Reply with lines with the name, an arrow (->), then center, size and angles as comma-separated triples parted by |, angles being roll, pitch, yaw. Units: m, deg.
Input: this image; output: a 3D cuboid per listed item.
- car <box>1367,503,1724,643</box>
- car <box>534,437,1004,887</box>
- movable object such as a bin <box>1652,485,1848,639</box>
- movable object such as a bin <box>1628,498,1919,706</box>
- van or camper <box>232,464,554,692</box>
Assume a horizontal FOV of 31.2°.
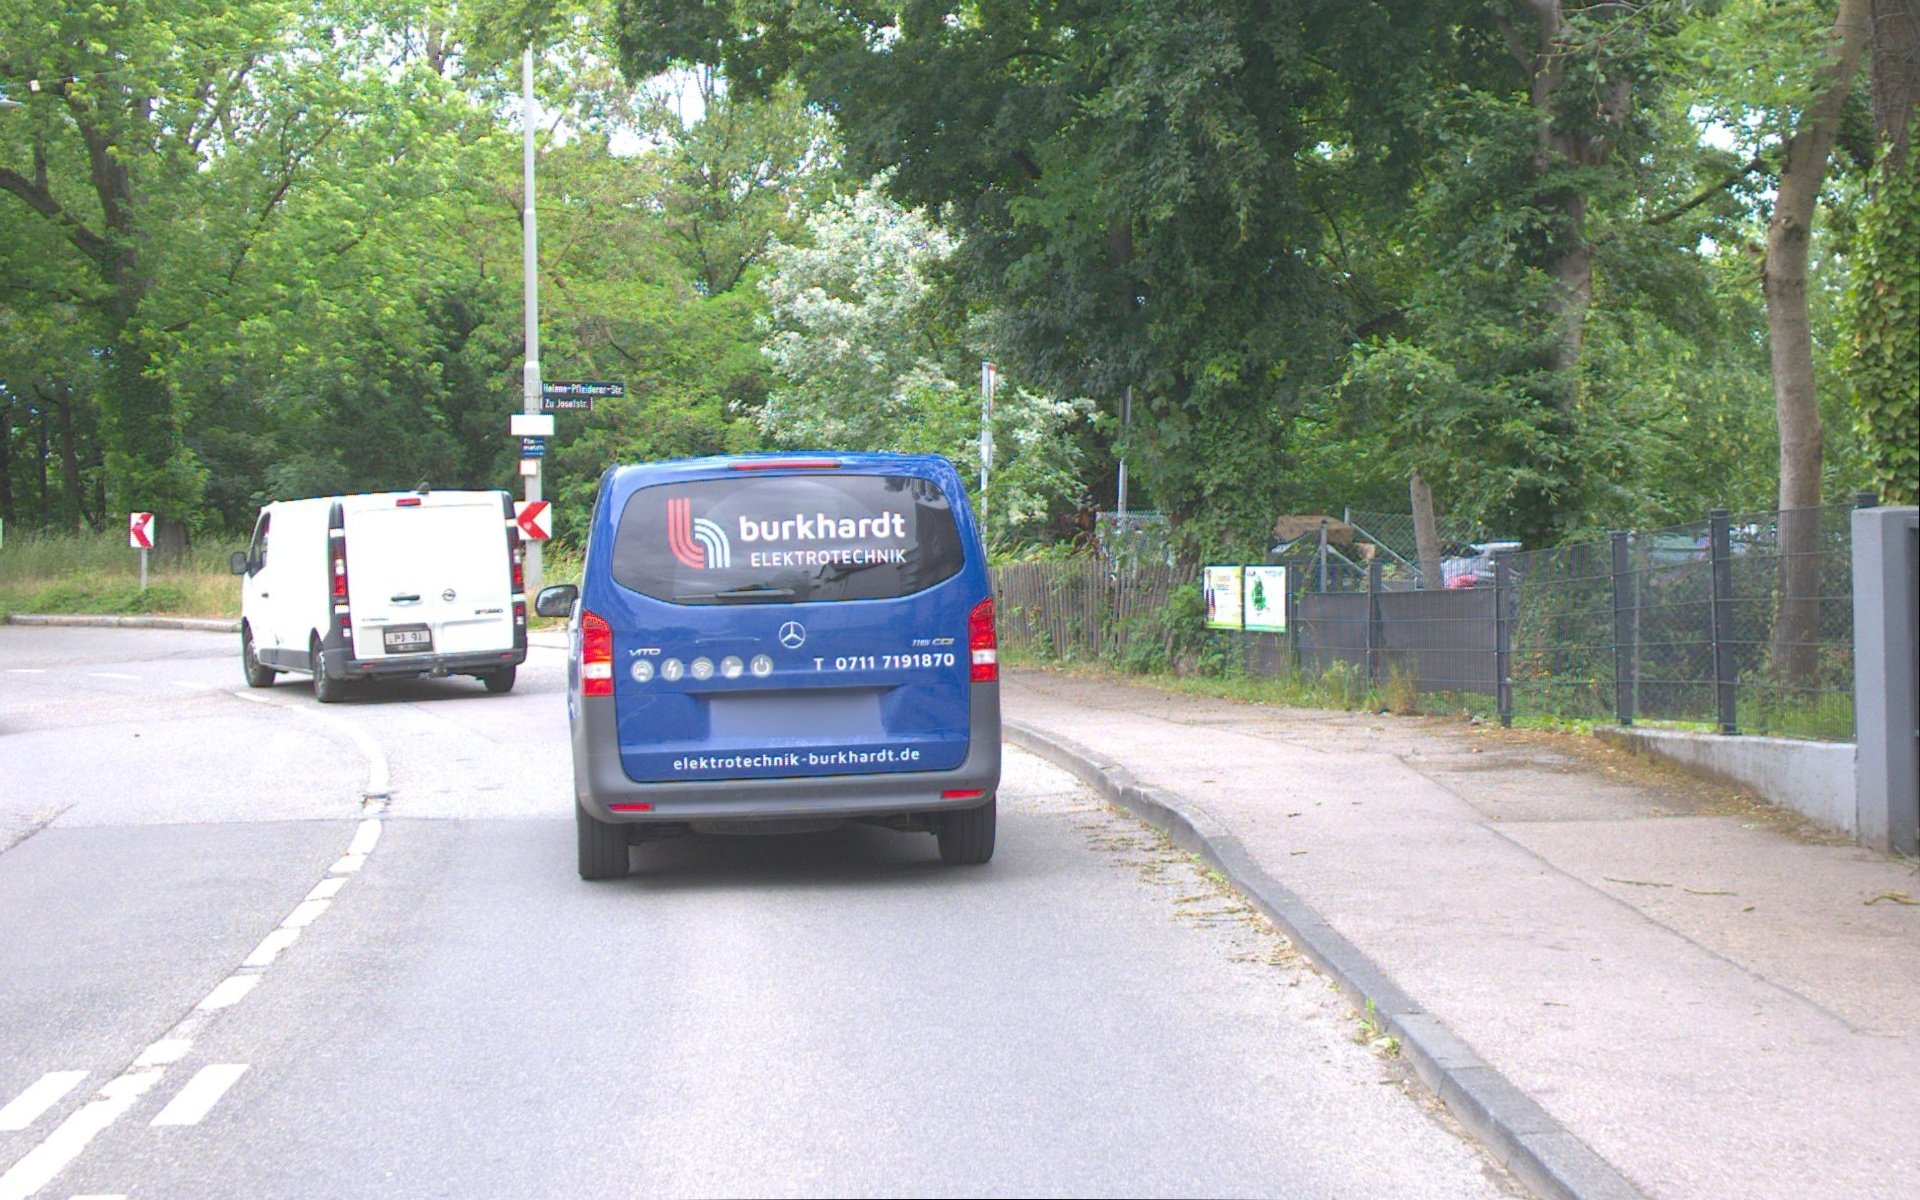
car -> 6.895, -0.313, 40.580 | 3.658, 1.393, 1.832 | 3, 0, -18
car -> -0.934, 0.204, 16.548 | 1.913, 1.831, 4.295 | -2, 1, -4
movable object such as a bin -> 8.271, -0.420, 36.070 | 1.421, 1.542, 1.676 | -1, 2, -12
movable object such as a bin -> 7.473, -0.016, 31.261 | 2.102, 1.781, 2.209 | -1, 2, -9
van or camper -> -5.640, -0.251, 33.662 | 2.019, 1.950, 4.897 | -4, 2, -21
